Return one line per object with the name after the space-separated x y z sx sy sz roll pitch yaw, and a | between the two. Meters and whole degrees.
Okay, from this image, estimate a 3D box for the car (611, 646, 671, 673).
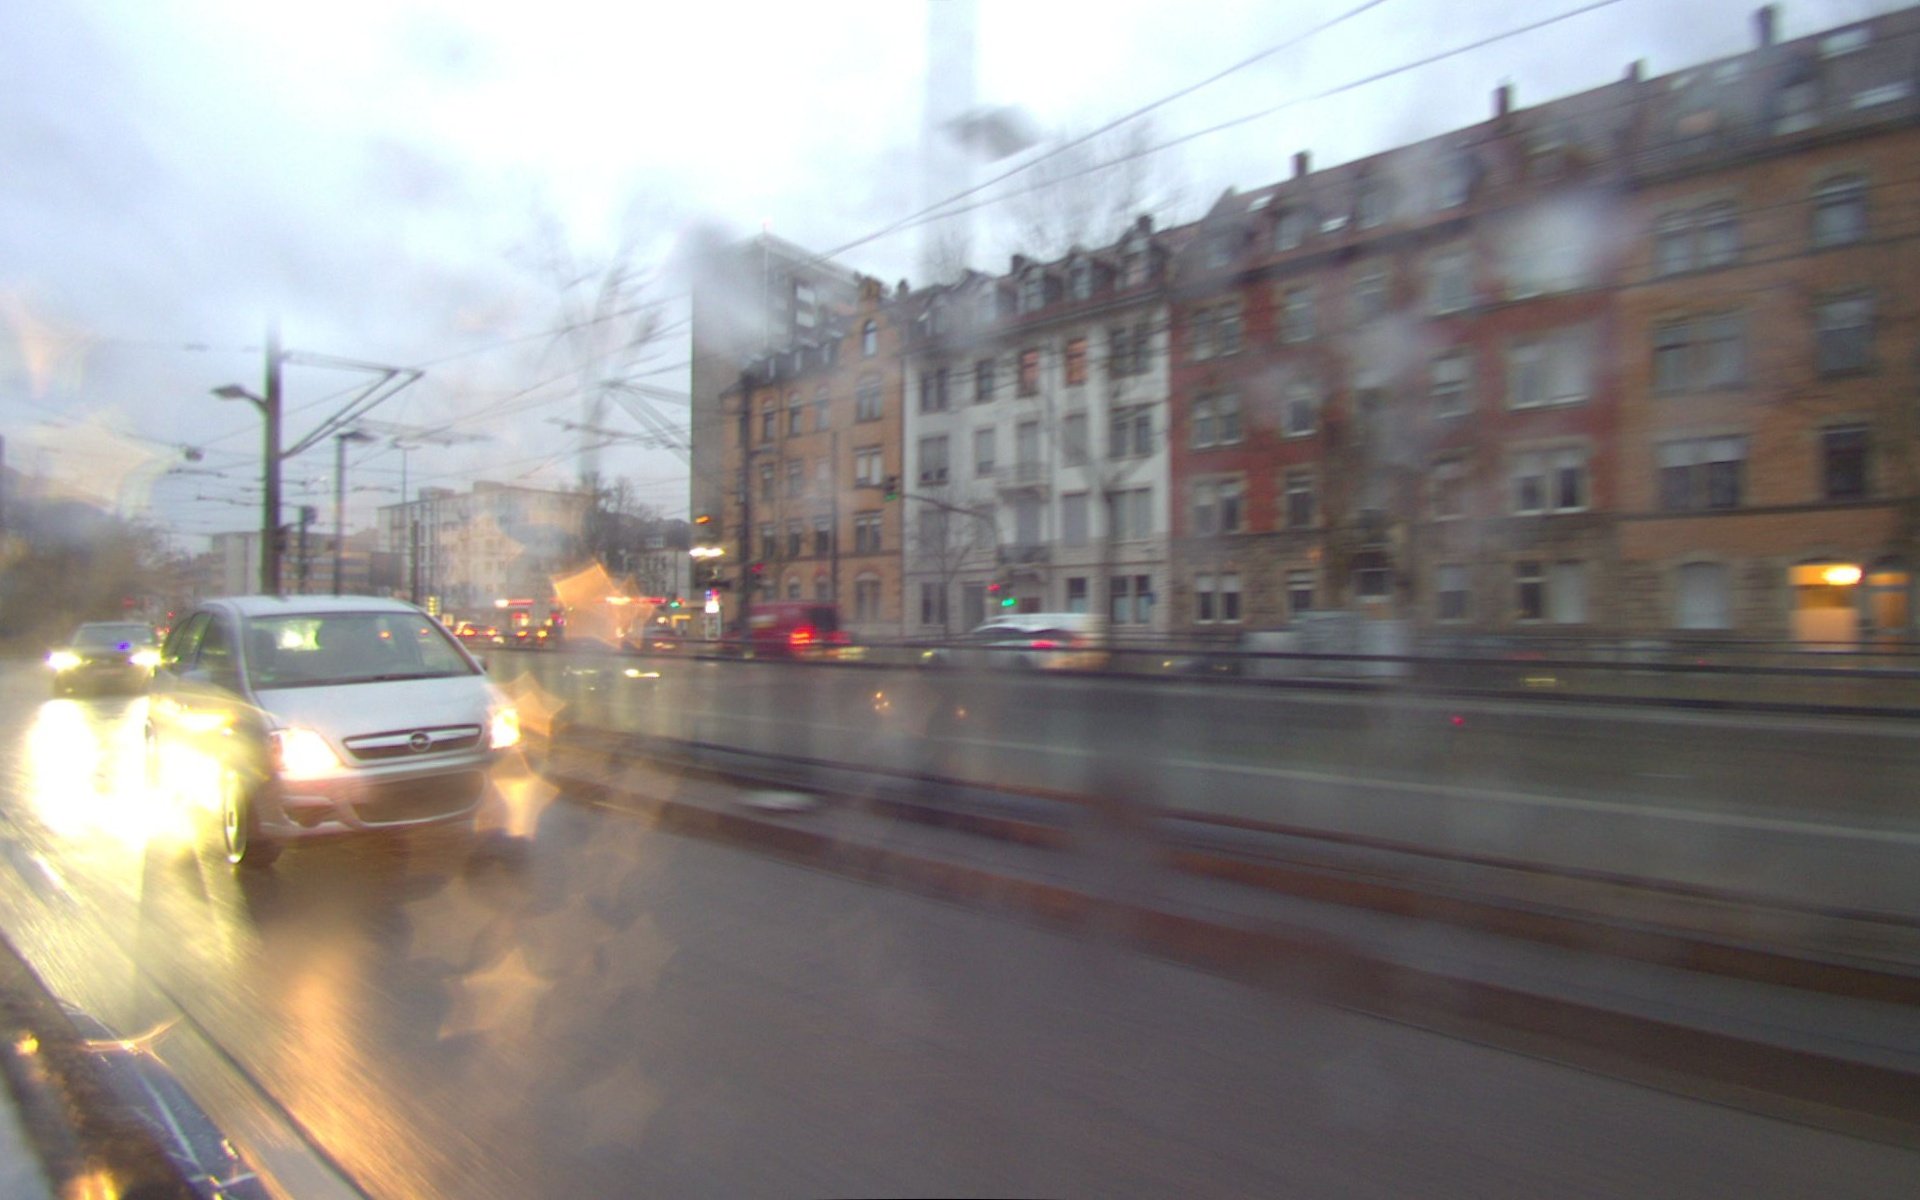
-15.335 2.826 48.515 1.516 1.236 4.097 2 -3 -36 | car

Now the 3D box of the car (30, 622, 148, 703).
-18.496 1.284 21.616 1.726 1.556 4.007 2 -3 -39 | car

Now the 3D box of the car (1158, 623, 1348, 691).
5.632 1.090 19.603 3.191 1.217 1.521 -2 -4 40 | car

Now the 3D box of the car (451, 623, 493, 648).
-31.567 2.308 65.394 1.658 1.565 4.131 1 -2 -36 | car

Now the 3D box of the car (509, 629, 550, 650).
-29.039 2.626 68.175 1.657 1.364 4.398 1 -2 -35 | car

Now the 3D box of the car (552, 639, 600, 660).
-21.942 2.803 57.806 1.579 1.142 3.798 1 -2 -36 | car

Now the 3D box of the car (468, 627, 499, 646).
-36.540 2.765 77.607 1.657 1.402 3.623 1 -2 -33 | car

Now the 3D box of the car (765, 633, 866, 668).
-5.431 1.851 37.688 4.088 1.236 1.519 -2 -3 44 | car

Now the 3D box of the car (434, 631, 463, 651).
-38.716 3.079 76.598 1.467 1.498 3.160 1 -2 -35 | car

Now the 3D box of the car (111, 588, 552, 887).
-4.688 0.774 7.285 4.108 1.560 1.628 -2 -2 42 | car

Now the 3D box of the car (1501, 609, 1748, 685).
13.462 0.941 20.619 3.998 1.409 1.792 -2 -3 41 | car

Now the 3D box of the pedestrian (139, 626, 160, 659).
-46.650 2.455 58.226 0.564 1.852 0.685 7 -6 -22 | pedestrian

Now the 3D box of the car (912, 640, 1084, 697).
0.860 1.589 24.331 4.084 1.255 1.521 -2 -3 40 | car

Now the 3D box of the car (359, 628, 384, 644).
-64.317 3.922 110.608 1.967 1.657 4.009 2 -3 -36 | car

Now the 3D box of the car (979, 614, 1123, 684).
2.686 1.459 30.478 3.941 1.955 1.972 -2 -3 41 | car

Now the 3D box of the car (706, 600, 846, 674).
-6.345 1.258 34.534 5.266 2.327 1.971 -2 -3 43 | car

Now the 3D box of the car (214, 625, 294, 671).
-28.916 1.962 41.576 1.789 1.756 4.200 1 -3 -23 | car
